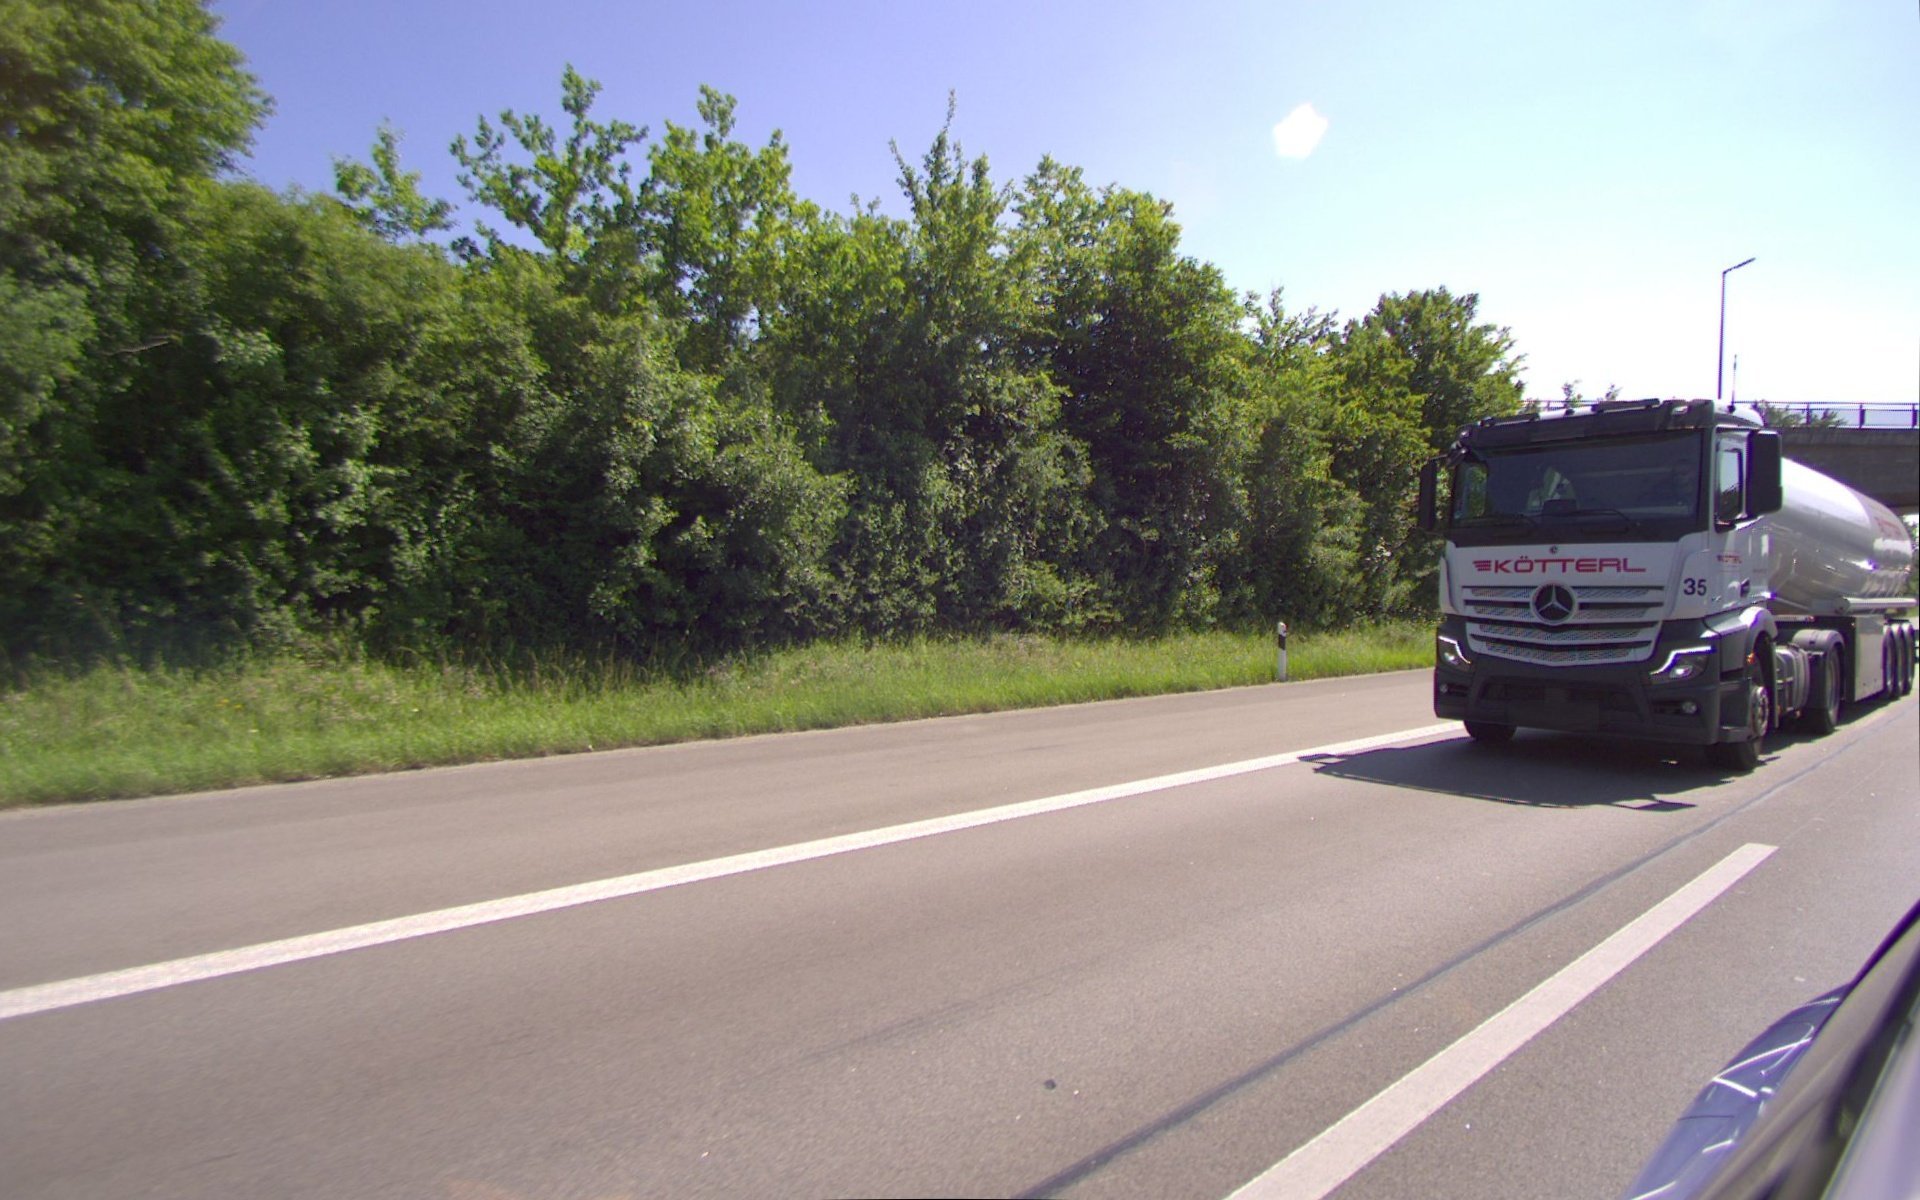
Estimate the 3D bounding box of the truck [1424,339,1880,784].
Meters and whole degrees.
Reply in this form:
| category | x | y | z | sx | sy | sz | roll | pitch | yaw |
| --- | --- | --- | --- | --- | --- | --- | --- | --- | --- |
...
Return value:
| category | x | y | z | sx | sy | sz | roll | pitch | yaw |
| --- | --- | --- | --- | --- | --- | --- | --- | --- | --- |
| truck | 7.718 | -0.321 | 10.907 | 6.376 | 3.417 | 2.642 | 0 | 0 | -42 |

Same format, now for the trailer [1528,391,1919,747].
| category | x | y | z | sx | sy | sz | roll | pitch | yaw |
| --- | --- | --- | --- | --- | --- | --- | --- | --- | --- |
| trailer | 11.584 | -0.330 | 14.388 | 10.957 | 3.432 | 2.652 | 0 | 0 | -41 |
